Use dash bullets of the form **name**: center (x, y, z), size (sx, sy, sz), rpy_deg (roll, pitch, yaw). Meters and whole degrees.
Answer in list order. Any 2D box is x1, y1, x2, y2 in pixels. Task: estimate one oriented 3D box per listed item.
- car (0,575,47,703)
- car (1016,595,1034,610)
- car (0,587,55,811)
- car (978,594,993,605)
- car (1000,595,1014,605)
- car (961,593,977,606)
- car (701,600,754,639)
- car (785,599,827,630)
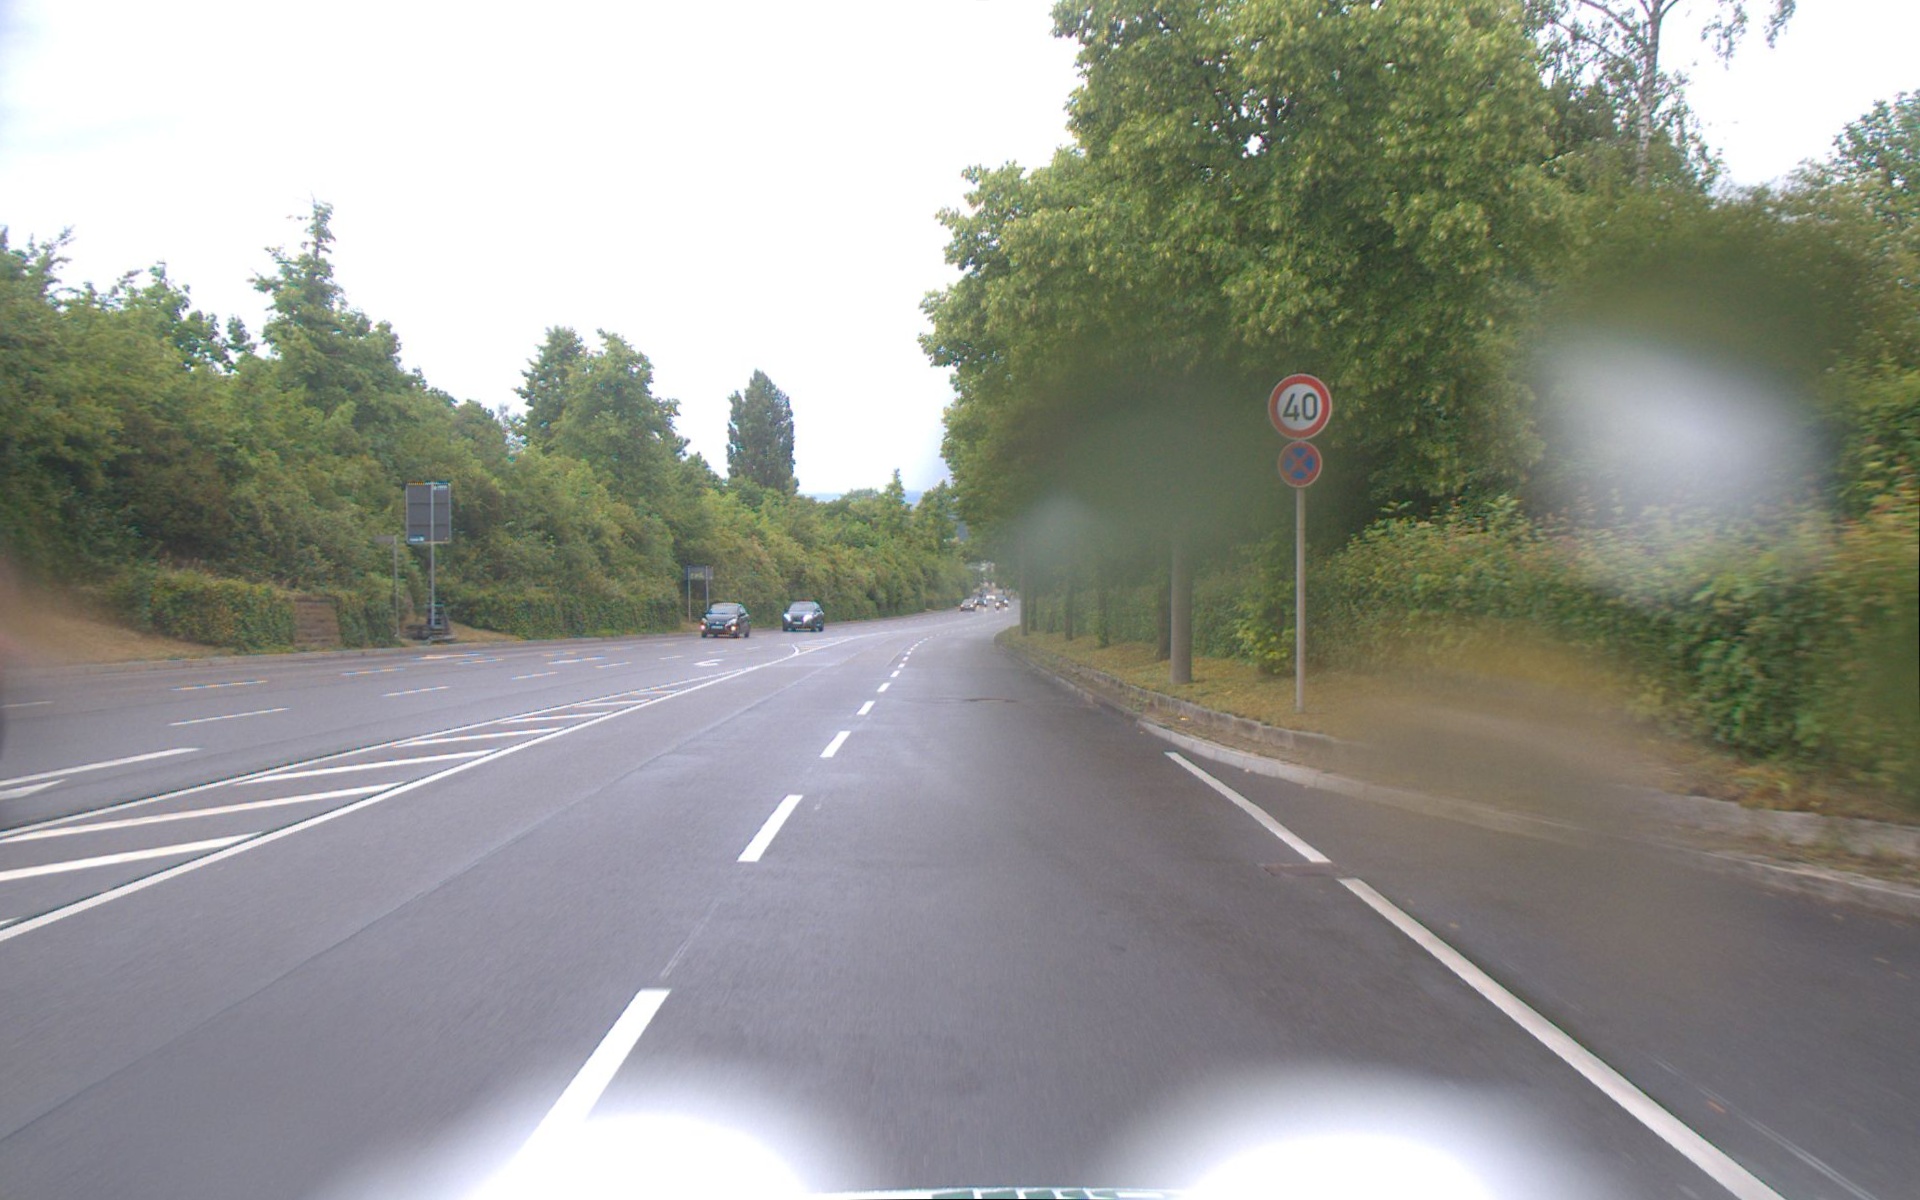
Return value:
- **car**: center (-13.086, 0.500, 20.087), size (1.688, 1.619, 4.001), rpy_deg (0, 0, 1)
- **car**: center (7.417, 0.241, 188.874), size (1.904, 1.618, 3.931), rpy_deg (0, 1, 5)
- **car**: center (-7.320, 0.672, 9.439), size (1.741, 1.497, 4.645), rpy_deg (0, 0, 0)
- **car**: center (3.803, -0.074, 244.167), size (1.825, 1.490, 3.895), rpy_deg (2, 0, 5)
- **car**: center (7.055, 0.021, 249.750), size (1.825, 1.490, 3.895), rpy_deg (2, 0, 5)
- **car**: center (1.114, -0.053, 203.002), size (1.826, 1.490, 3.894), rpy_deg (2, 0, 2)
- **car**: center (-10.079, 0.810, 71.919), size (1.690, 1.593, 3.892), rpy_deg (2, 0, 0)
- **car**: center (-8.599, 0.797, 92.684), size (1.826, 1.617, 3.894), rpy_deg (2, 0, 2)
